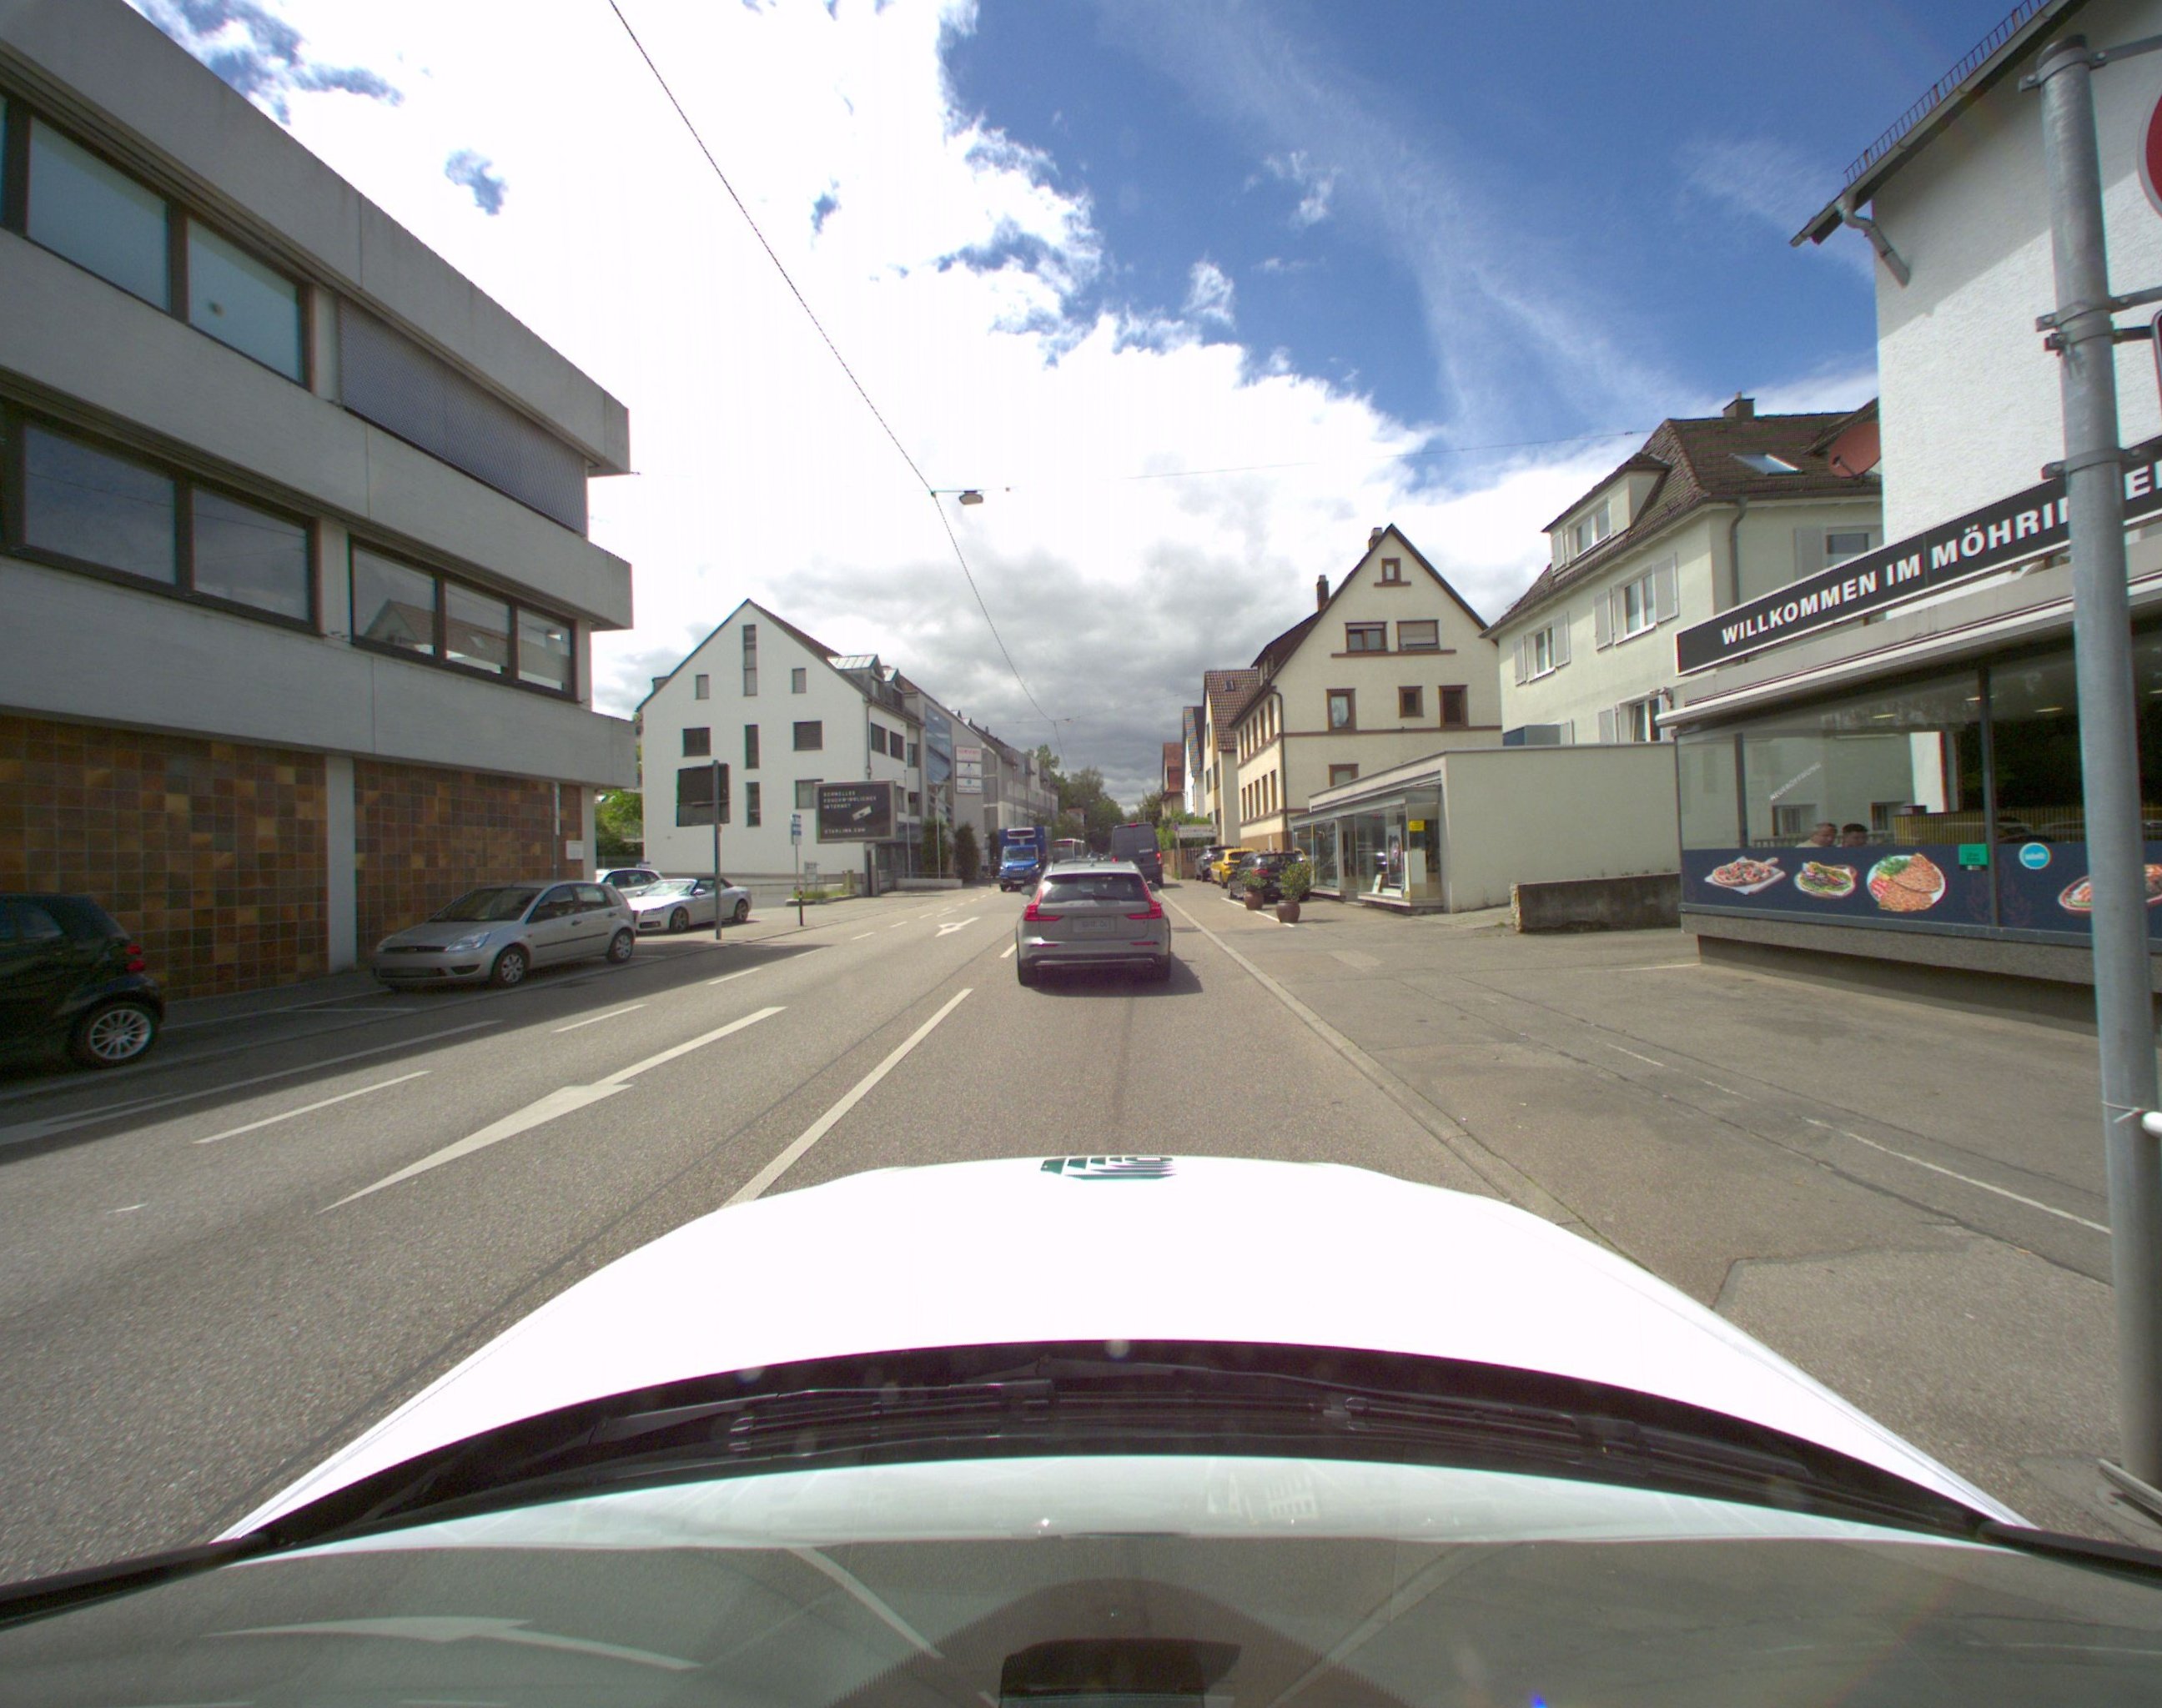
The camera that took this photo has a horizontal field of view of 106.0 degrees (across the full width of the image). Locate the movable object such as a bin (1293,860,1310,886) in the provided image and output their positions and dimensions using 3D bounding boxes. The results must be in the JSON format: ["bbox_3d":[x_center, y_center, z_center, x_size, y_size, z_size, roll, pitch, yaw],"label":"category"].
[{"bbox_3d":[8.203,0.694,30.282,0.498,0.925,0.599,-2,0,6],"label":"movable object such as a bin"}]

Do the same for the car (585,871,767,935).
[{"bbox_3d":[-10.496,1.204,21.624,1.941,1.358,4.864,-2,0,6],"label":"car"}]

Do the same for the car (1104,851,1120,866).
[{"bbox_3d":[4.217,0.607,109.244,1.984,2.013,4.005,-1,0,4],"label":"car"}]

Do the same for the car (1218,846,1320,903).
[{"bbox_3d":[5.382,0.547,23.932,1.961,1.447,4.535,-3,0,0],"label":"car"}]

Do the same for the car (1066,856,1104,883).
[{"bbox_3d":[0.279,0.863,47.655,1.888,1.446,3.973,-1,0,4],"label":"car"}]

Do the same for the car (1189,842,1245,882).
[{"bbox_3d":[6.156,0.334,37.221,1.853,1.612,4.588,-3,0,2],"label":"car"}]

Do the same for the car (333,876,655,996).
[{"bbox_3d":[-8.657,1.117,12.562,1.714,1.422,4.153,-1,0,5],"label":"car"}]

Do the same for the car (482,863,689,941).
[{"bbox_3d":[-13.094,1.186,22.010,1.940,1.619,4.942,-5,0,9],"label":"car"}]

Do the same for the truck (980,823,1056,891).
[{"bbox_3d":[-3.098,0.161,42.393,2.842,3.093,8.094,-2,0,3],"label":"truck"}]

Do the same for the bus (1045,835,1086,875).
[{"bbox_3d":[-1.254,0.086,71.824,2.671,3.163,10.193,-2,0,3],"label":"bus"}]

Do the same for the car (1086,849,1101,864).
[{"bbox_3d":[1.966,0.337,126.310,2.097,2.121,4.767,-4,0,2],"label":"car"}]

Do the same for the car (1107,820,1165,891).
[{"bbox_3d":[2.396,0.069,35.609,2.243,2.795,5.574,-2,0,3],"label":"car"}]

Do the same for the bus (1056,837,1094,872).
[{"bbox_3d":[-0.507,0.080,80.718,2.702,3.163,8.083,-2,0,6],"label":"bus"}]

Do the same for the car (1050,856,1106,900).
[{"bbox_3d":[-0.098,0.838,29.962,1.890,1.446,3.968,-1,0,0],"label":"car"}]

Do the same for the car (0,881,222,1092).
[{"bbox_3d":[-9.122,1.053,6.229,1.728,1.556,3.061,-1,0,6],"label":"car"}]

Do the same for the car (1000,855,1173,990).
[{"bbox_3d":[0.198,0.759,10.969,1.888,1.453,3.973,-1,0,4],"label":"car"}]

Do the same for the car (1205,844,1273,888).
[{"bbox_3d":[6.208,0.428,32.426,1.871,1.447,4.308,-3,2,0],"label":"car"}]

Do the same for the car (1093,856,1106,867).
[{"bbox_3d":[3.164,1.203,136.385,2.097,1.709,4.767,-2,0,2],"label":"car"}]

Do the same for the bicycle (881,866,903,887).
[{"bbox_3d":[-10.656,1.277,45.951,0.627,1.095,2.005,-2,0,4],"label":"bicycle"}]
